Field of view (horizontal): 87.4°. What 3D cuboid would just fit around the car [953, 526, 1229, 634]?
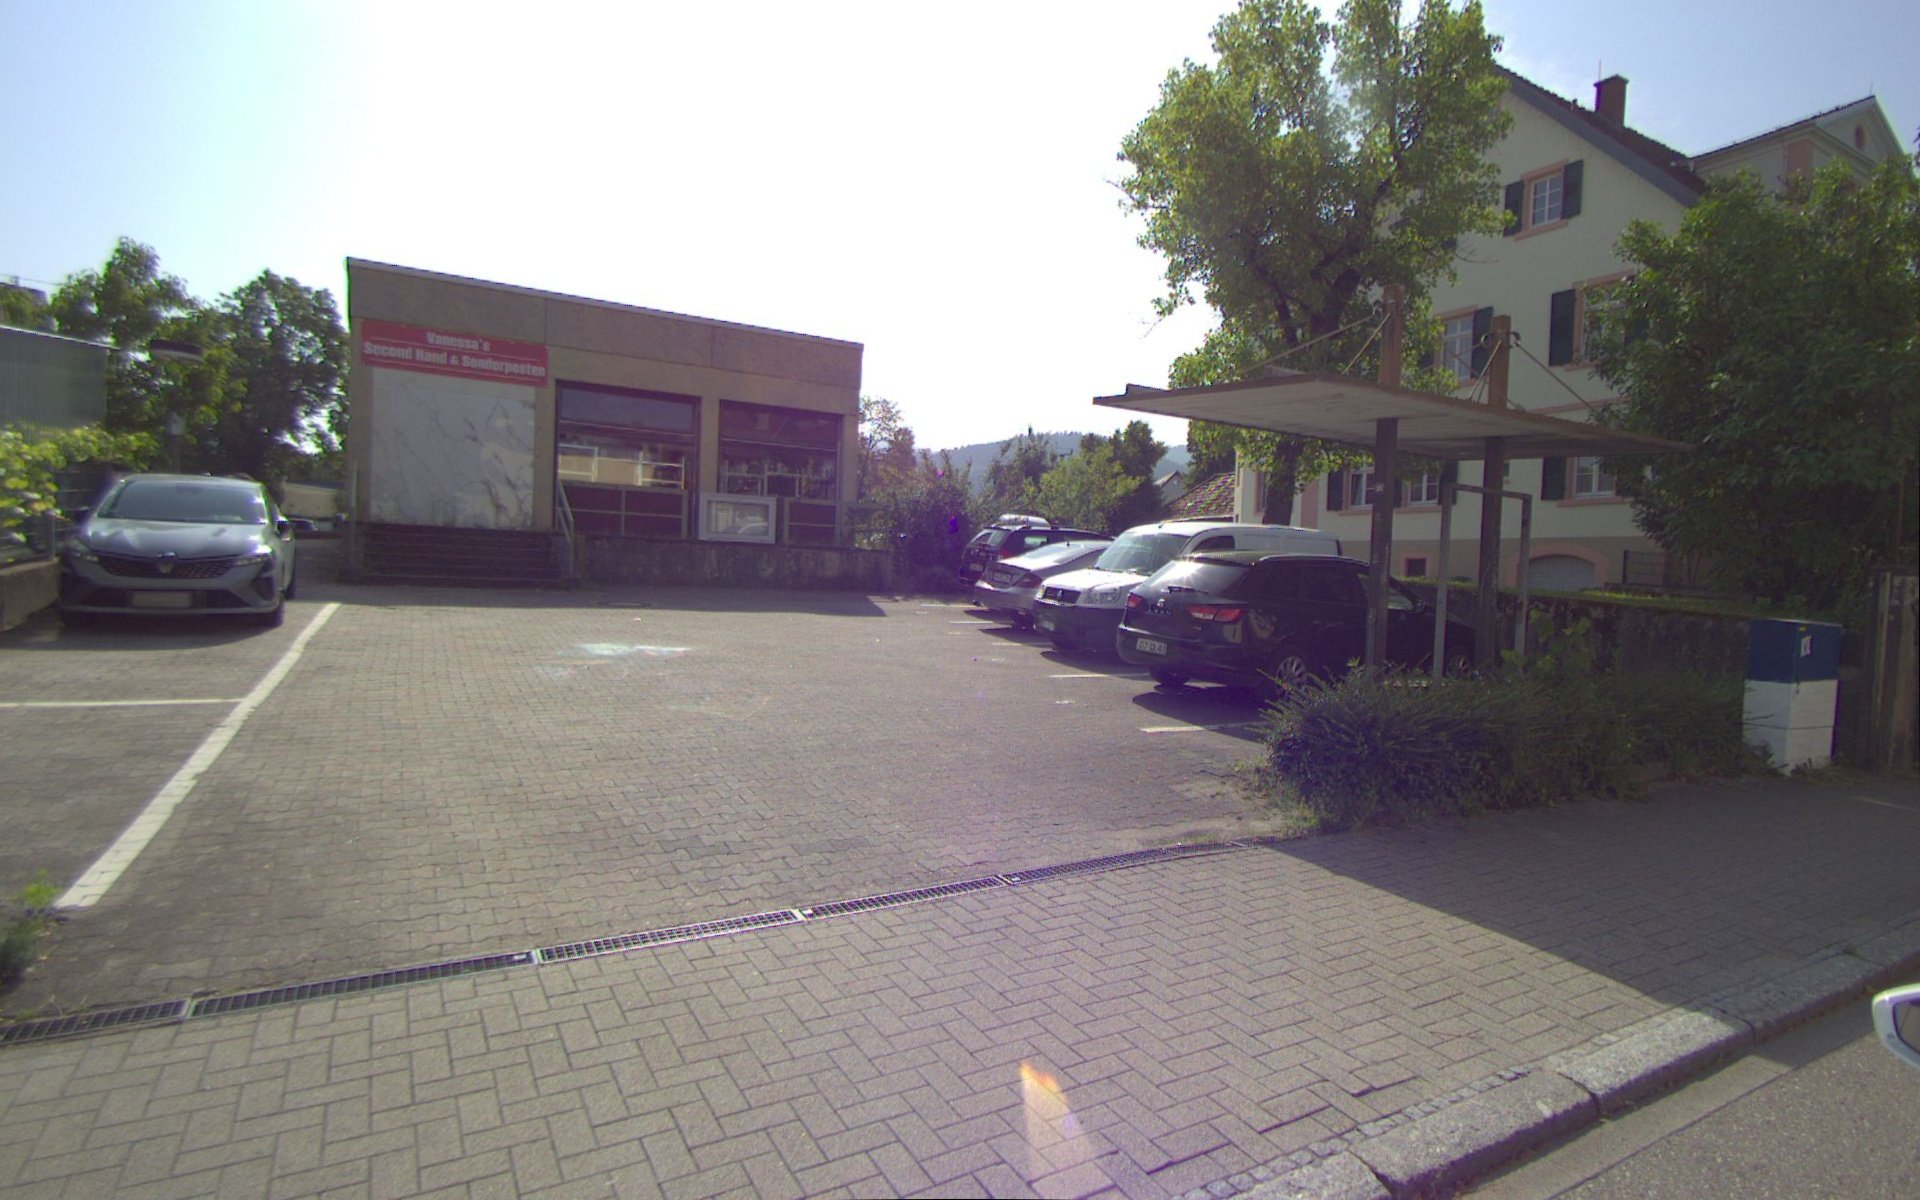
[{"bbox_3d":[2.060,-0.327,15.590,3.954,1.442,1.805,0,5,-31],"label":"car"}]

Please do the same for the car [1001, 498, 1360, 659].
[{"bbox_3d":[2.999,-0.290,13.356,4.630,1.796,1.812,1,5,-32],"label":"car"}]

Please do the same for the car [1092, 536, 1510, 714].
[{"bbox_3d":[3.603,0.184,10.388,4.343,1.482,1.607,0,4,-31],"label":"car"}]

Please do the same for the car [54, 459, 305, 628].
[{"bbox_3d":[-8.128,-0.700,10.791,1.687,1.435,3.809,1,7,-32],"label":"car"}]

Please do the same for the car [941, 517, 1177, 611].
[{"bbox_3d":[1.830,-0.642,18.434,3.953,1.526,1.798,0,5,-30],"label":"car"}]
